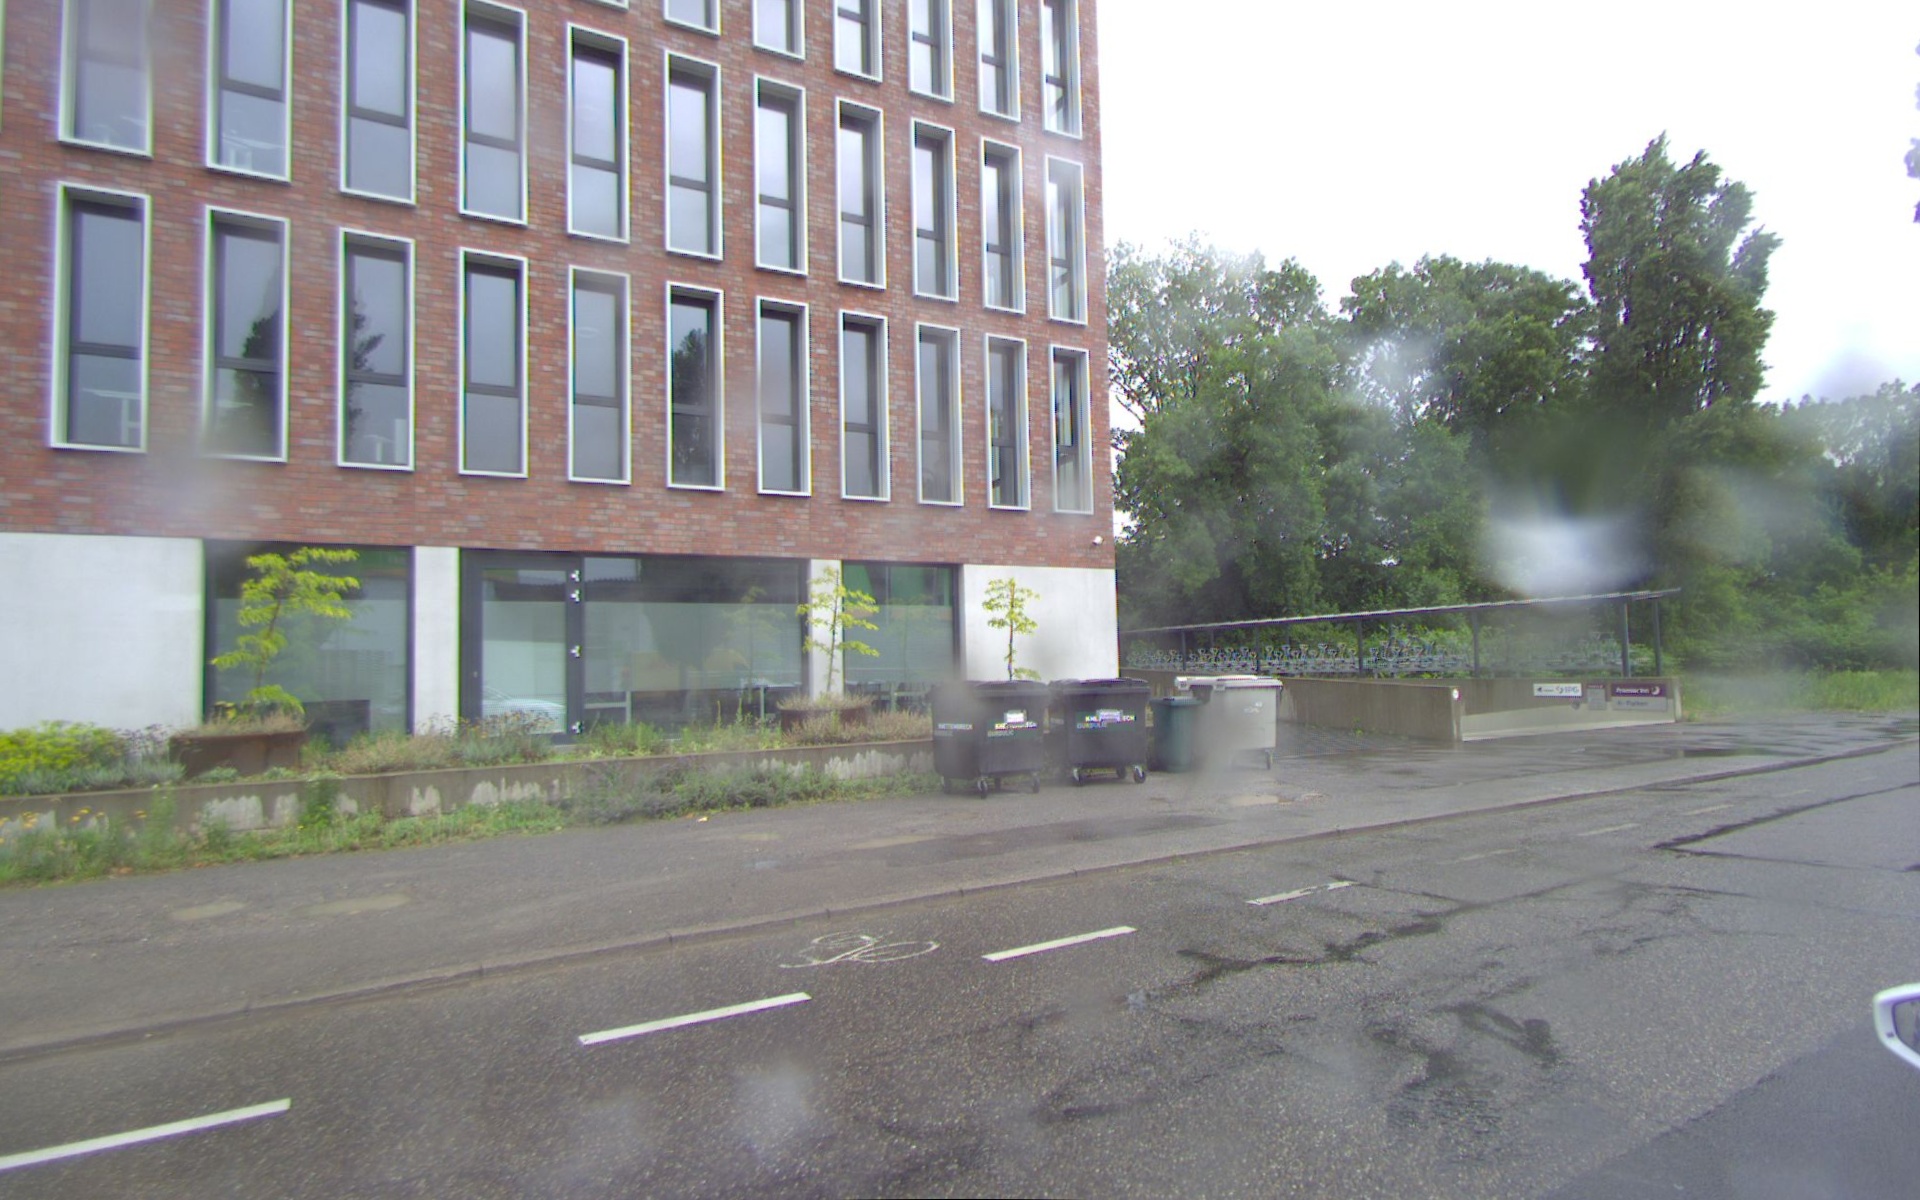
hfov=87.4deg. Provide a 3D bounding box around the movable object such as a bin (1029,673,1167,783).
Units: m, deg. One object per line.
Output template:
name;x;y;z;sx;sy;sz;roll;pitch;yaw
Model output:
movable object such as a bin;1.770;1.631;13.188;1.422;1.325;1.377;0;-4;-9

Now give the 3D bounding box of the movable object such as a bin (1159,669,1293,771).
movable object such as a bin;3.846;1.699;14.581;1.344;1.349;1.289;1;-4;-33

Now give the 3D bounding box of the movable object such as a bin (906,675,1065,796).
movable object such as a bin;0.303;1.586;12.192;1.435;1.325;1.286;2;-5;-37
